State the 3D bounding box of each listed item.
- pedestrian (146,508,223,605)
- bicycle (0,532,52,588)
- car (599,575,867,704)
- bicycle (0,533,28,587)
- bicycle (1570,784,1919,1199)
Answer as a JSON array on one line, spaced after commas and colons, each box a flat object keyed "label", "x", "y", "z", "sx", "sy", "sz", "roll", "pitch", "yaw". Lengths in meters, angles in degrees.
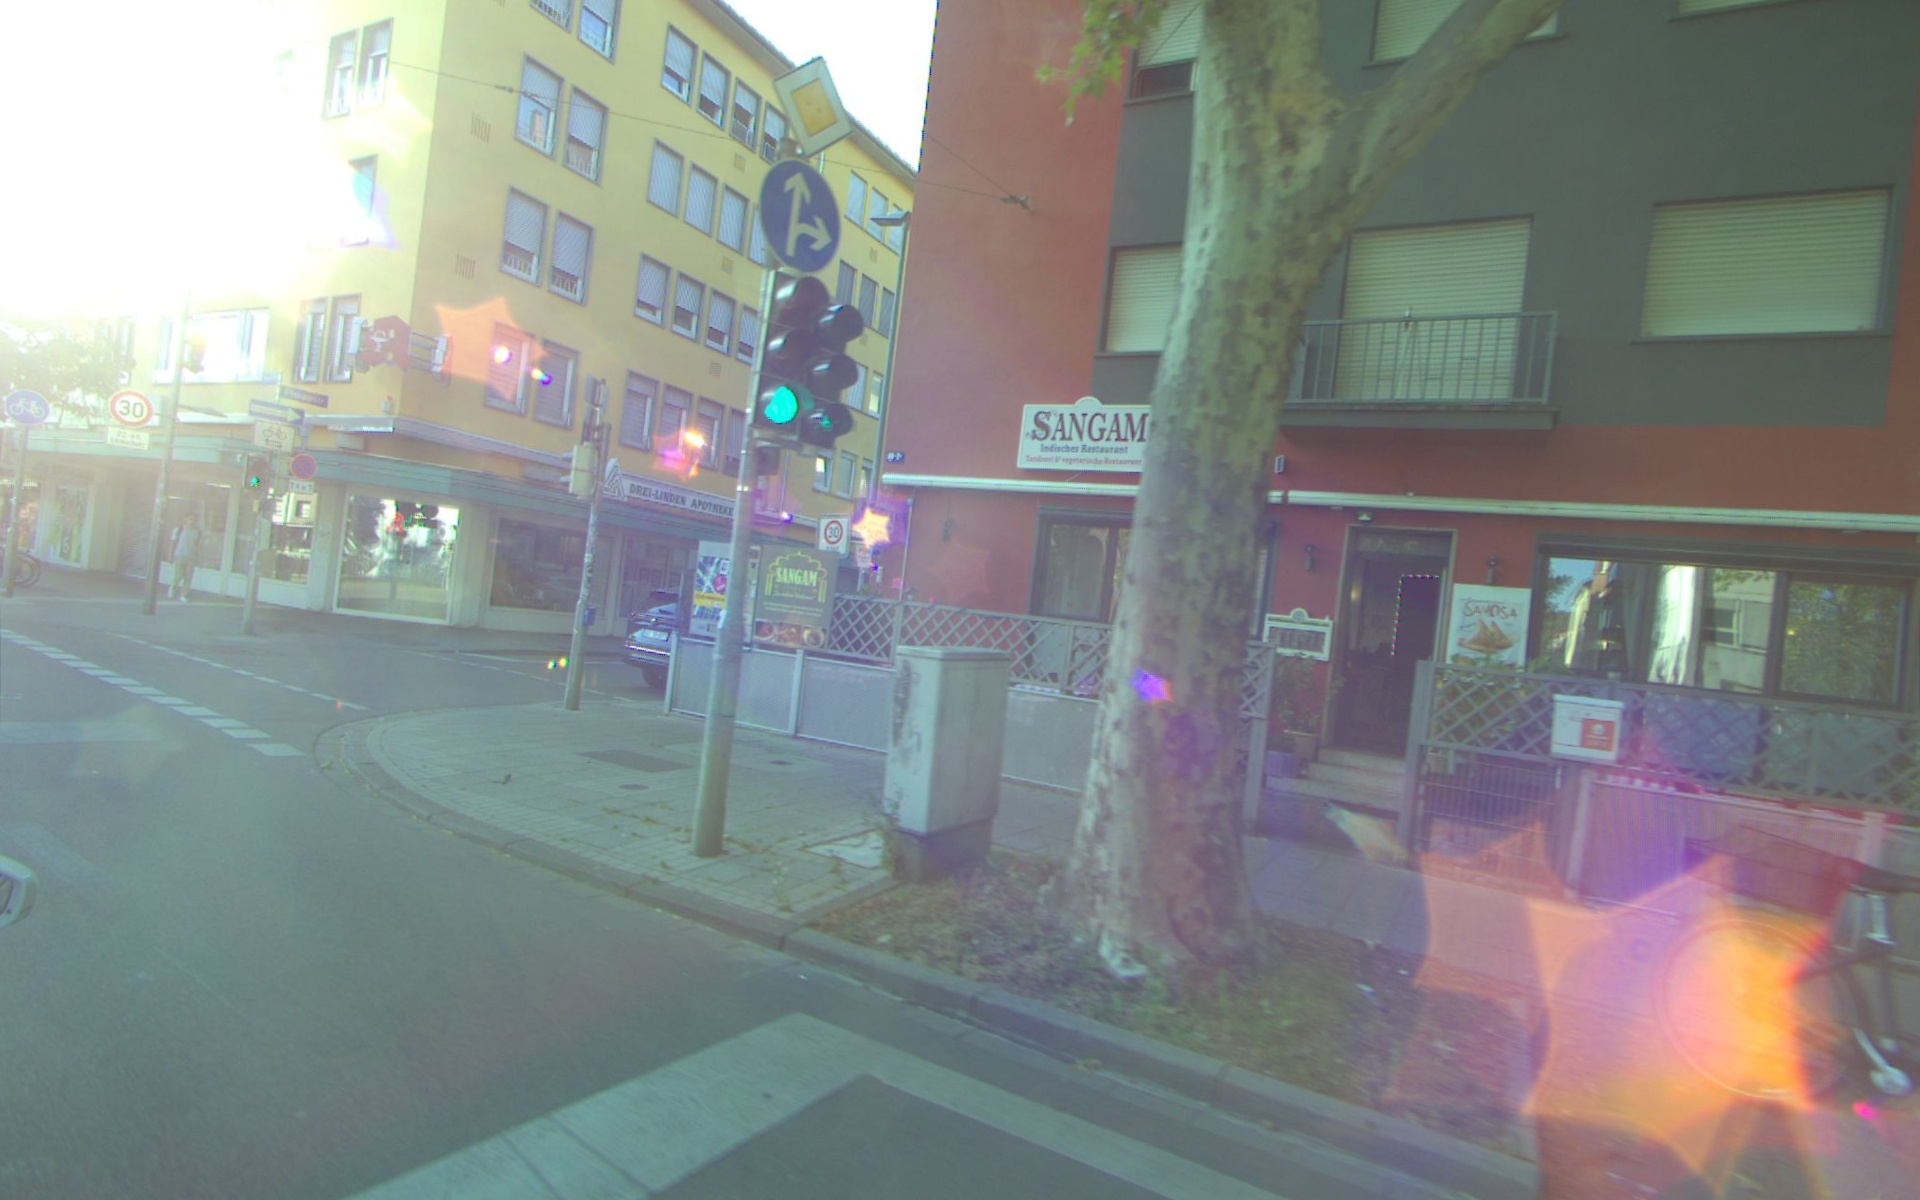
[{"label": "pedestrian", "x": -15.595, "y": -0.873, "z": 20.228, "sx": 0.879, "sy": 1.799, "sz": 0.745, "roll": 6, "pitch": -3, "yaw": 29}, {"label": "bicycle", "x": -18.729, "y": -0.809, "z": 19.328, "sx": 0.531, "sy": 1.021, "sz": 1.801, "roll": 6, "pitch": 1, "yaw": 26}, {"label": "car", "x": -3.550, "y": 0.722, "z": 16.626, "sx": 1.742, "sy": 1.706, "sz": 4.350, "roll": 6, "pitch": -1, "yaw": 29}, {"label": "bicycle", "x": -19.292, "y": -0.854, "z": 19.642, "sx": 0.446, "sy": 1.020, "sz": 1.486, "roll": 6, "pitch": -1, "yaw": 26}, {"label": "bicycle", "x": 3.370, "y": 1.432, "z": 3.641, "sx": 0.615, "sy": 1.125, "sz": 1.784, "roll": 6, "pitch": 2, "yaw": -33}]
